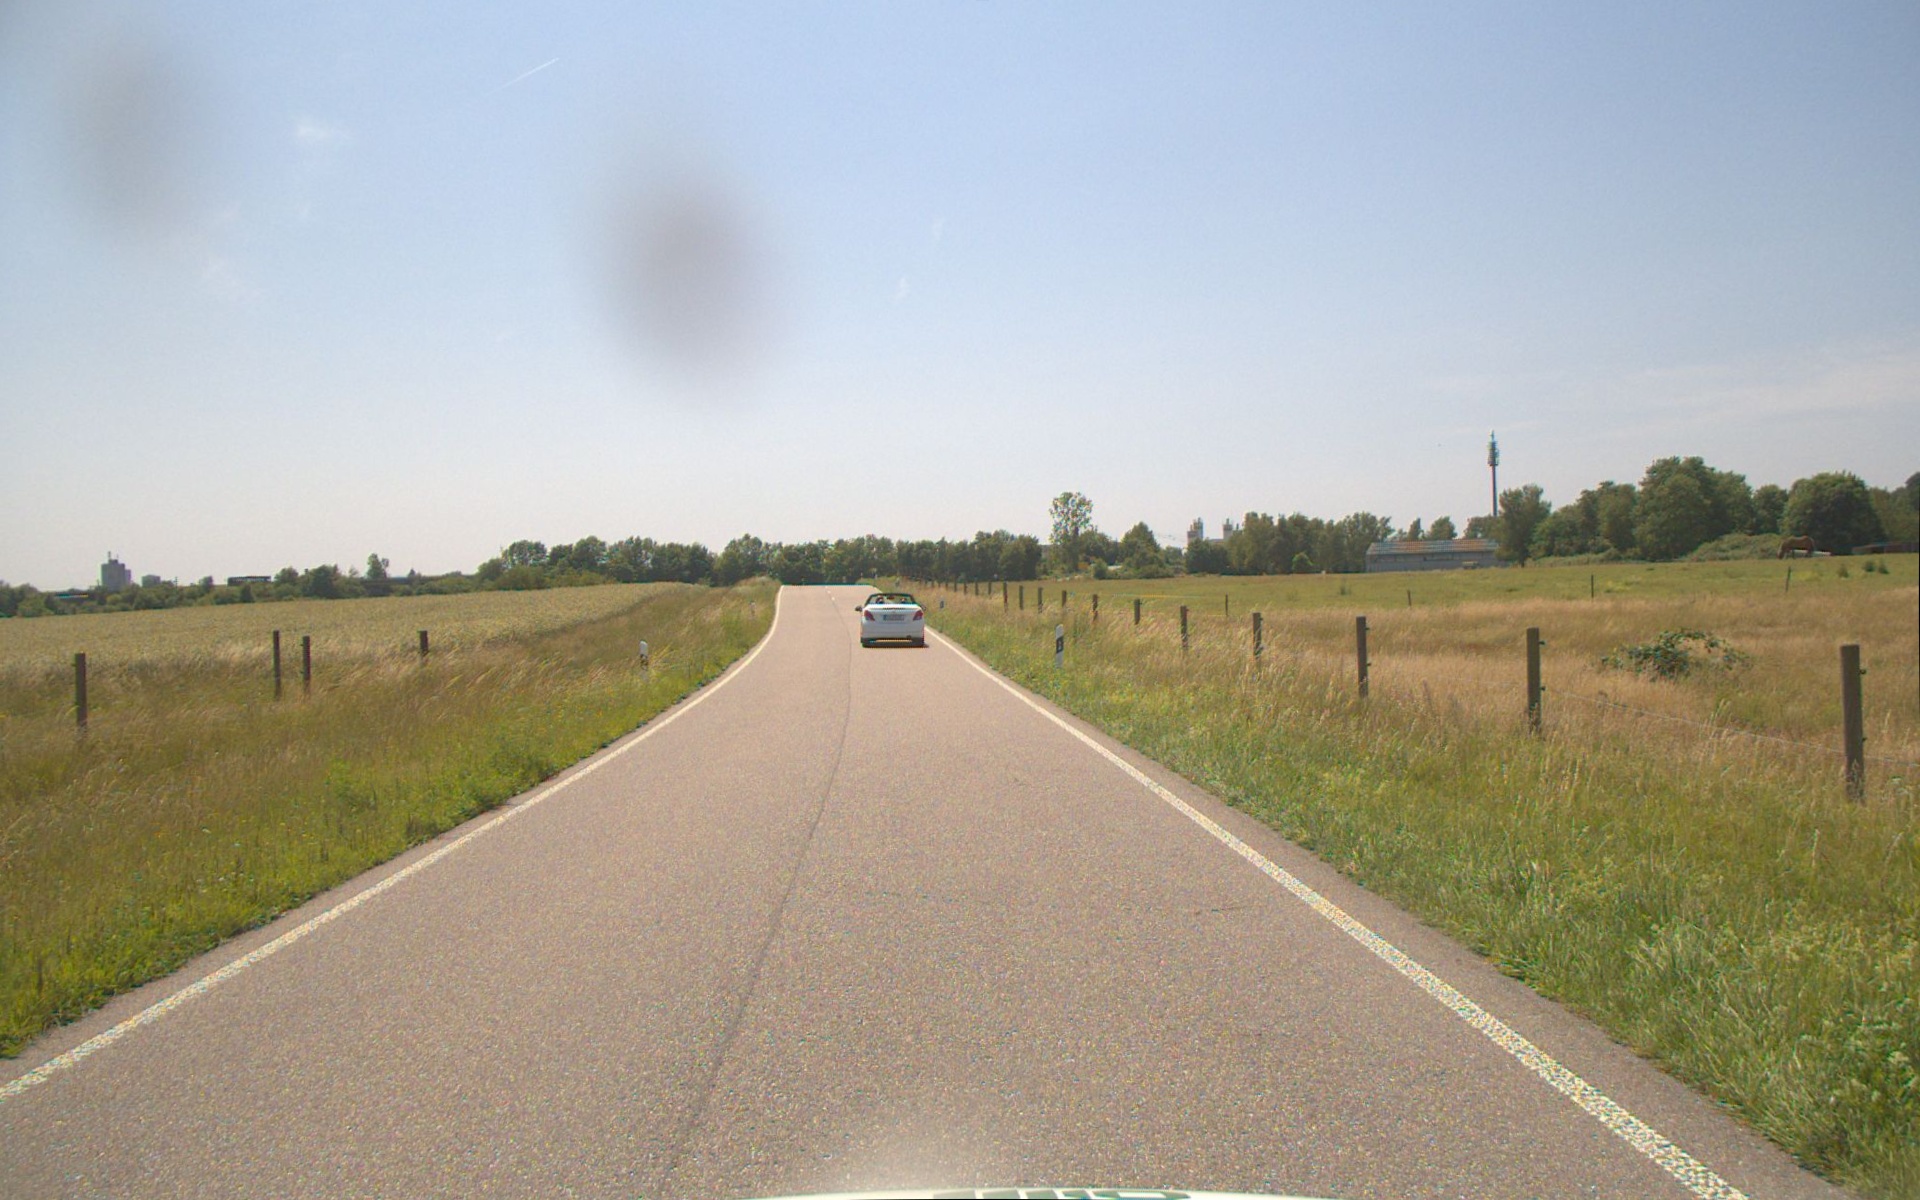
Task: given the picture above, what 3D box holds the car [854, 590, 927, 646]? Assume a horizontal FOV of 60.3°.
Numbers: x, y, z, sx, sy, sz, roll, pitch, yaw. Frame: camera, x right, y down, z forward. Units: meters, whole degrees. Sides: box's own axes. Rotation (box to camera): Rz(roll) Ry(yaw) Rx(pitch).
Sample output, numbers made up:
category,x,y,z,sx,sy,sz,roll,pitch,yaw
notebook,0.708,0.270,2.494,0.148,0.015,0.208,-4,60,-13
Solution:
category,x,y,z,sx,sy,sz,roll,pitch,yaw
car,-1.933,0.446,45.097,1.815,1.403,3.996,0,1,-5
